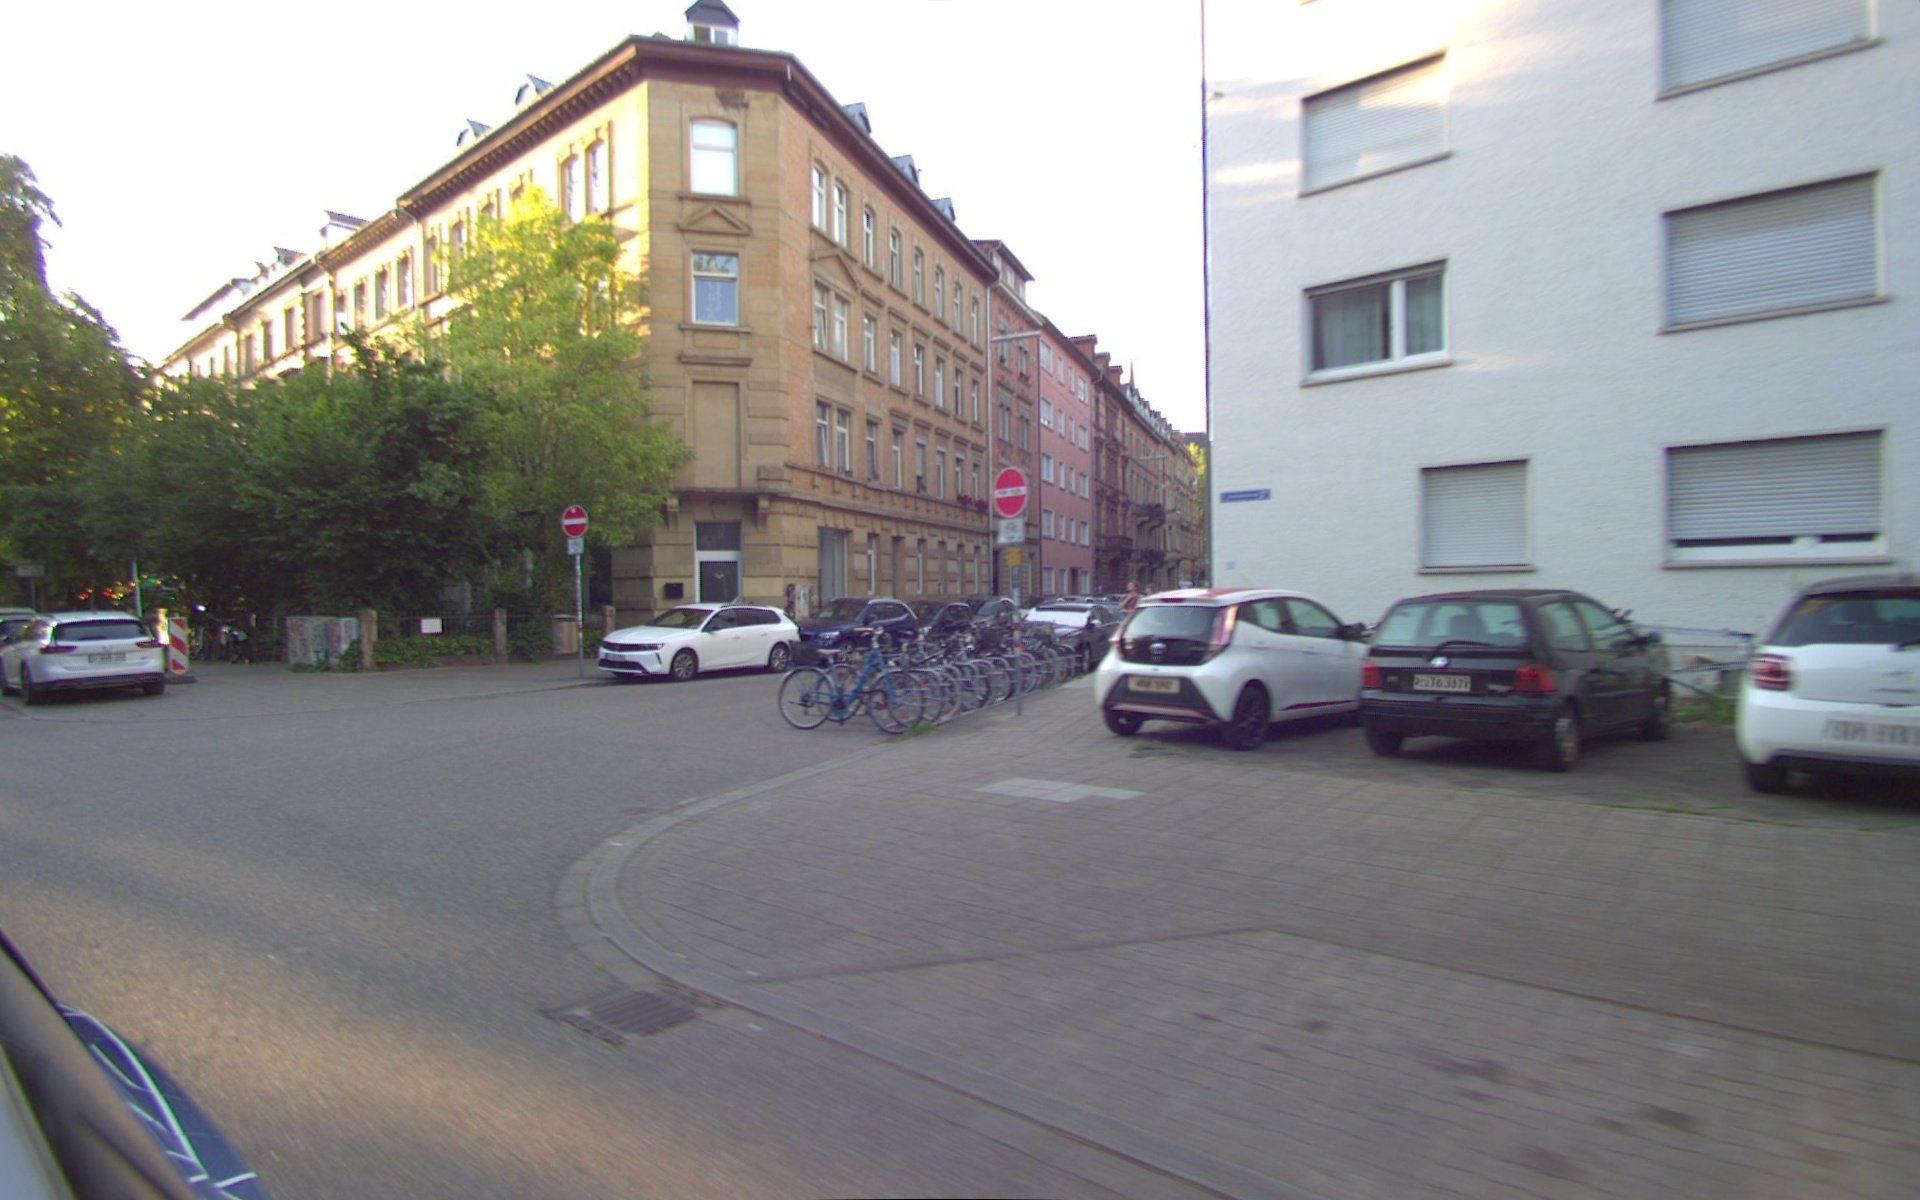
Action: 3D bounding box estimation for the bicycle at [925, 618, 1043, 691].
[{"bbox_3d":[0.386,0.875,16.171,1.834,1.125,0.365,-1,0,15],"label":"bicycle"}]

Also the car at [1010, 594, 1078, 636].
[{"bbox_3d":[3.359,0.561,39.960,1.697,1.563,3.848,1,0,21],"label":"car"}]

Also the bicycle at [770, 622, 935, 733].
[{"bbox_3d":[-1.224,0.856,11.433,1.860,1.190,0.336,0,0,15],"label":"bicycle"}]

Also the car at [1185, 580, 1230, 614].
[{"bbox_3d":[13.756,-0.189,56.077,1.985,1.785,3.973,-1,0,20],"label":"car"}]

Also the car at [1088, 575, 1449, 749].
[{"bbox_3d":[3.367,0.528,10.660,4.042,1.458,1.711,-2,-1,-41],"label":"car"}]

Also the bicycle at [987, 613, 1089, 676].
[{"bbox_3d":[1.430,0.822,18.639,1.836,1.113,0.365,-1,0,18],"label":"bicycle"}]

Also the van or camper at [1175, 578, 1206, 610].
[{"bbox_3d":[20.913,-0.539,91.589,2.068,2.747,5.343,1,0,20],"label":"van or camper"}]

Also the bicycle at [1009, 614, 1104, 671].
[{"bbox_3d":[1.911,0.847,20.091,1.836,1.113,0.365,-1,0,18],"label":"bicycle"}]

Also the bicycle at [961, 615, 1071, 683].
[{"bbox_3d":[0.965,0.845,17.494,1.838,1.125,0.399,-1,0,20],"label":"bicycle"}]

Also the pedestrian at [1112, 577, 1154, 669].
[{"bbox_3d":[3.483,0.447,20.320,0.618,1.778,0.499,-5,-1,19],"label":"pedestrian"}]

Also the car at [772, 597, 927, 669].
[{"bbox_3d":[-2.574,0.717,24.478,1.702,1.563,4.066,1,0,29],"label":"car"}]

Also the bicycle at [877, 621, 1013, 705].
[{"bbox_3d":[-0.208,0.868,13.943,1.834,1.117,0.365,-1,0,15],"label":"bicycle"}]

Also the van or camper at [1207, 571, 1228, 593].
[{"bbox_3d":[32.326,-2.248,127.088,2.068,2.704,5.343,1,0,20],"label":"van or camper"}]

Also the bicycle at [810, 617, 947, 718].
[{"bbox_3d":[-1.000,0.822,12.314,1.663,1.190,0.242,-1,0,15],"label":"bicycle"}]

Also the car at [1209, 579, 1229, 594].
[{"bbox_3d":[28.089,-1.467,109.719,1.696,1.540,3.849,1,0,20],"label":"car"}]

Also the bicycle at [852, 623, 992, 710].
[{"bbox_3d":[-0.520,0.893,13.586,1.834,1.117,0.365,-1,0,15],"label":"bicycle"}]

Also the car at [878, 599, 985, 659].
[{"bbox_3d":[-0.740,0.779,29.237,1.697,1.563,3.846,1,0,22],"label":"car"}]

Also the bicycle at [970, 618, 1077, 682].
[{"bbox_3d":[1.116,0.887,17.945,1.836,1.113,0.365,-1,0,18],"label":"bicycle"}]

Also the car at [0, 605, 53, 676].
[{"bbox_3d":[-23.890,1.014,24.919,4.399,1.575,1.673,-2,2,40],"label":"car"}]

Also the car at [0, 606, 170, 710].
[{"bbox_3d":[-15.752,0.970,17.946,4.732,1.513,1.673,-2,2,39],"label":"car"}]

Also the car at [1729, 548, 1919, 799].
[{"bbox_3d":[6.923,0.382,7.006,3.519,1.458,1.820,-2,-1,-41],"label":"car"}]

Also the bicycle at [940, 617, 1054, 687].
[{"bbox_3d":[0.612,0.858,16.722,1.834,1.125,0.365,-1,0,15],"label":"bicycle"}]

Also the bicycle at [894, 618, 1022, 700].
[{"bbox_3d":[-0.032,0.872,14.905,1.834,1.160,0.365,-1,0,15],"label":"bicycle"}]

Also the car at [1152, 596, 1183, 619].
[{"bbox_3d":[15.041,0.521,73.230,1.696,1.540,3.849,1,0,20],"label":"car"}]

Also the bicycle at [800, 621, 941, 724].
[{"bbox_3d":[-1.074,0.858,12.061,1.663,1.190,0.242,-1,0,15],"label":"bicycle"}]

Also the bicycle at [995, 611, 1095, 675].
[{"bbox_3d":[1.612,0.820,19.223,1.836,1.174,0.365,-1,0,18],"label":"bicycle"}]

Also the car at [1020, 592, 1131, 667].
[{"bbox_3d":[2.652,0.588,22.503,1.784,1.484,3.693,1,1,17],"label":"car"}]

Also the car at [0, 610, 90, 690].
[{"bbox_3d":[-20.390,1.021,21.866,4.399,1.513,1.673,-1,3,40],"label":"car"}]

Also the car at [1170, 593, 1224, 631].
[{"bbox_3d":[10.742,0.513,45.739,1.818,1.599,3.972,-1,0,21],"label":"car"}]

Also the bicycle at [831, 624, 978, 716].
[{"bbox_3d":[-0.711,0.888,12.881,1.834,1.117,0.365,-1,0,15],"label":"bicycle"}]

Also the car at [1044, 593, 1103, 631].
[{"bbox_3d":[5.094,0.502,45.065,1.697,1.563,3.848,1,0,21],"label":"car"}]

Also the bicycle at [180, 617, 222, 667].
[{"bbox_3d":[-20.773,1.123,27.717,0.597,1.294,2.493,0,-1,-29],"label":"bicycle"}]

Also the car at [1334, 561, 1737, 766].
[{"bbox_3d":[5.339,0.428,9.187,4.041,1.458,1.820,-2,-1,-40],"label":"car"}]

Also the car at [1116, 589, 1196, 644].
[{"bbox_3d":[6.335,0.495,32.434,1.829,1.567,3.972,-2,1,21],"label":"car"}]

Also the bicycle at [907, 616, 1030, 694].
[{"bbox_3d":[0.129,0.846,15.487,1.834,1.160,0.365,-1,0,15],"label":"bicycle"}]

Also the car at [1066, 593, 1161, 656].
[{"bbox_3d":[4.106,0.587,26.579,1.679,1.464,3.693,3,1,21],"label":"car"}]

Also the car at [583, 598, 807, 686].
[{"bbox_3d":[-5.168,0.770,20.319,1.702,1.564,4.420,-3,-1,30],"label":"car"}]

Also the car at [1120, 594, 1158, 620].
[{"bbox_3d":[11.116,0.417,62.629,1.696,1.540,3.849,1,0,20],"label":"car"}]

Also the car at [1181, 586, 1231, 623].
[{"bbox_3d":[12.613,0.208,51.807,1.986,1.785,3.973,-1,0,21],"label":"car"}]

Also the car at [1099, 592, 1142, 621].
[{"bbox_3d":[9.065,0.350,56.987,1.696,1.540,3.849,1,0,20],"label":"car"}]

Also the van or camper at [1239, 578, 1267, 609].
[{"bbox_3d":[26.828,-0.554,92.525,2.068,2.747,5.343,1,0,20],"label":"van or camper"}]

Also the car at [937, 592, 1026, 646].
[{"bbox_3d":[0.780,0.576,33.183,1.697,1.659,3.847,1,0,21],"label":"car"}]
